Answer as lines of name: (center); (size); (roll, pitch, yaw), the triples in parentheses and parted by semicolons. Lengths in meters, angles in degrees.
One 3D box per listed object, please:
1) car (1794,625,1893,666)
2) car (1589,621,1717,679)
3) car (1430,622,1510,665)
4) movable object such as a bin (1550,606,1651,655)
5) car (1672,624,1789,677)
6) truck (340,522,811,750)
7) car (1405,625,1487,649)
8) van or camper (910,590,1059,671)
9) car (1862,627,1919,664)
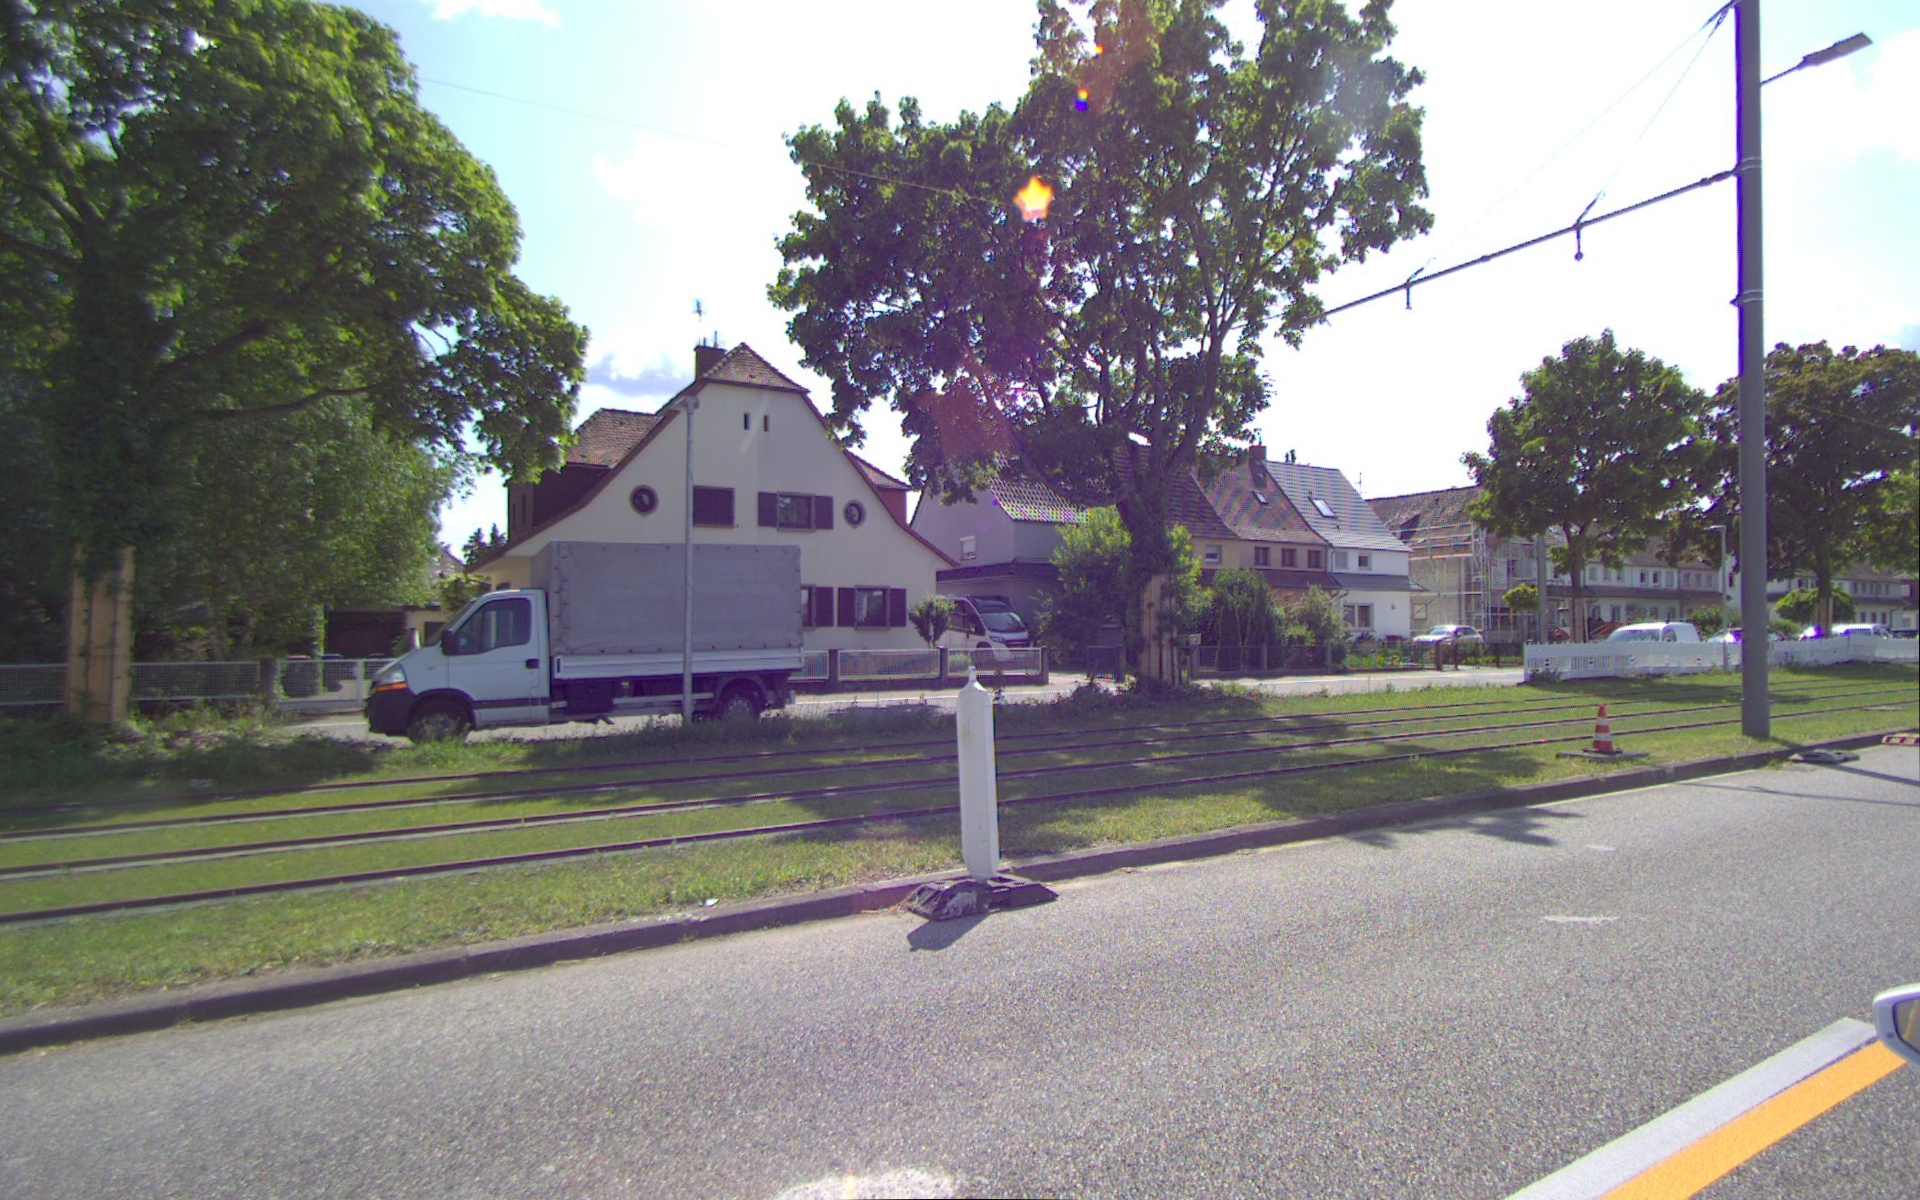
car: (36.632, 1.876, 41.650); (3.955, 1.627, 1.984); (2, -3, -32)
car: (22.597, 1.637, 32.730); (3.955, 1.772, 1.984); (2, -3, -32)
car: (21.702, 1.852, 42.745); (2.996, 1.744, 1.676); (2, -3, -31)
movable object such as a bin: (33.530, 1.610, 52.616); (4.282, 2.481, 1.782); (-2, -2, 38)
car: (27.220, 1.767, 35.472); (3.955, 1.772, 1.984); (2, -3, -32)
truck: (-5.503, 0.539, 14.871); (6.205, 2.803, 1.984); (1, -5, -32)
car: (22.838, 1.746, 47.135); (3.938, 1.066, 1.675); (2, -3, -33)
van or camper: (0.815, 1.091, 38.728); (2.673, 2.675, 6.053); (1, 1, -34)
car: (43.050, 2.065, 45.643); (3.955, 1.627, 1.984); (2, -3, -32)
